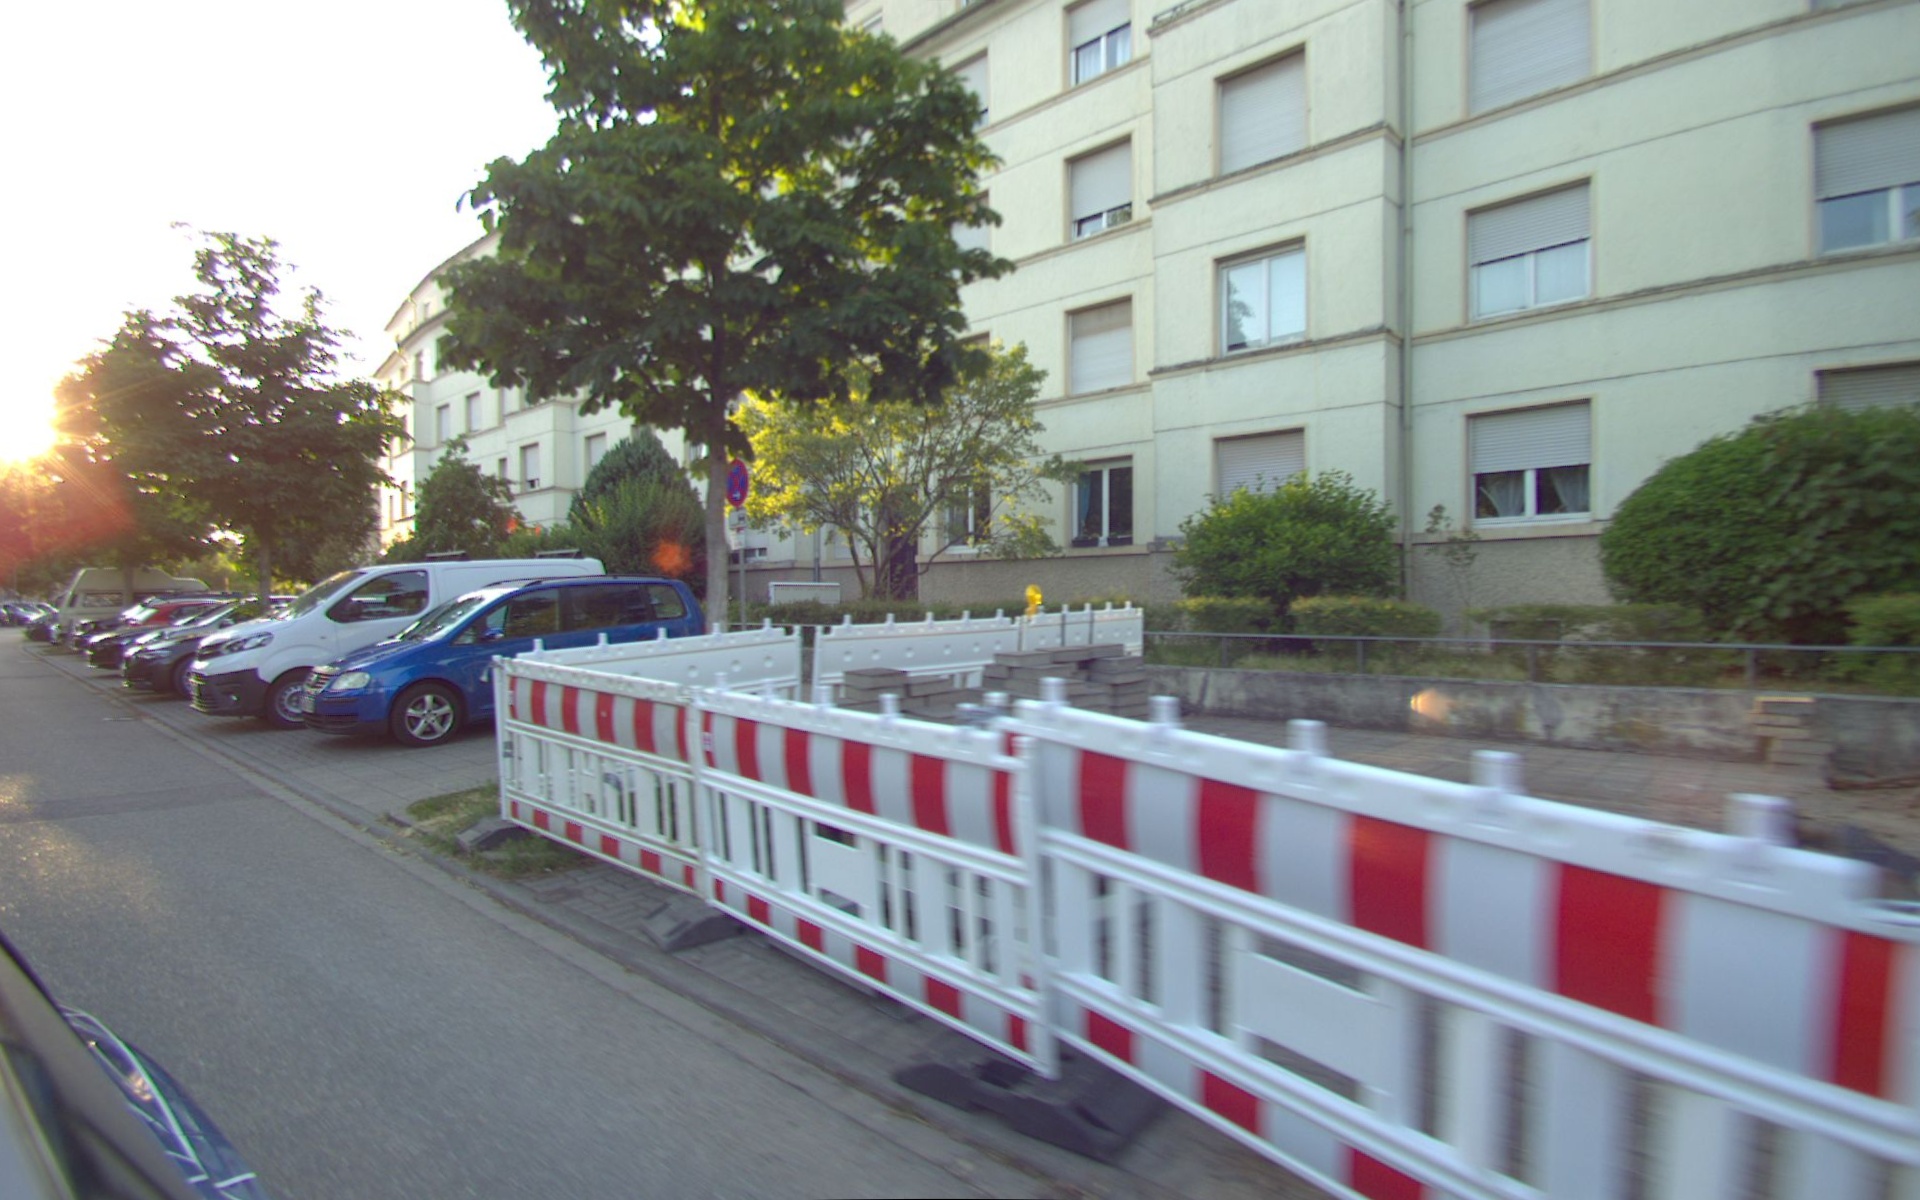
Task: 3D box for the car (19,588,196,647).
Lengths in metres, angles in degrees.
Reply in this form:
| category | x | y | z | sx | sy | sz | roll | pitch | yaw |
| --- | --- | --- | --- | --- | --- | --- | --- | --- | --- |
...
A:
| category | x | y | z | sx | sy | sz | roll | pitch | yaw |
| --- | --- | --- | --- | --- | --- | --- | --- | --- | --- |
| car | -29.877 | 0.570 | 35.574 | 4.619 | 1.888 | 2.001 | -1 | 0 | -45 |

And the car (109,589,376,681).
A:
| category | x | y | z | sx | sy | sz | roll | pitch | yaw |
| --- | --- | --- | --- | --- | --- | --- | --- | --- | --- |
| car | -14.010 | 0.615 | 19.934 | 1.799 | 1.590 | 3.947 | -1 | 0 | 39 |

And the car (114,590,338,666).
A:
| category | x | y | z | sx | sy | sz | roll | pitch | yaw |
| --- | --- | --- | --- | --- | --- | --- | --- | --- | --- |
| car | -17.132 | 0.593 | 23.765 | 1.730 | 1.595 | 3.947 | -1 | 0 | 40 |

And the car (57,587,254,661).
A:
| category | x | y | z | sx | sy | sz | roll | pitch | yaw |
| --- | --- | --- | --- | --- | --- | --- | --- | --- | --- |
| car | -21.355 | 0.581 | 26.967 | 1.842 | 1.790 | 3.821 | -1 | 0 | 40 |

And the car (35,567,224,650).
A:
| category | x | y | z | sx | sy | sz | roll | pitch | yaw |
| --- | --- | --- | --- | --- | --- | --- | --- | --- | --- |
| car | -26.437 | 0.235 | 32.321 | 2.001 | 2.449 | 4.452 | -1 | 0 | 44 |

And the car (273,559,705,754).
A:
| category | x | y | z | sx | sy | sz | roll | pitch | yaw |
| --- | --- | --- | --- | --- | --- | --- | --- | --- | --- |
| car | -5.029 | 0.490 | 11.217 | 1.799 | 1.765 | 3.945 | -1 | 0 | 41 |

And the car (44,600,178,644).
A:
| category | x | y | z | sx | sy | sz | roll | pitch | yaw |
| --- | --- | --- | --- | --- | --- | --- | --- | --- | --- |
| car | -31.703 | 0.792 | 37.832 | 3.724 | 1.449 | 1.657 | -2 | 1 | -43 |

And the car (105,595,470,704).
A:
| category | x | y | z | sx | sy | sz | roll | pitch | yaw |
| --- | --- | --- | --- | --- | --- | --- | --- | --- | --- |
| car | -10.895 | 0.691 | 16.692 | 1.881 | 1.481 | 4.720 | 0 | 1 | 43 |

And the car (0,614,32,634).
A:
| category | x | y | z | sx | sy | sz | roll | pitch | yaw |
| --- | --- | --- | --- | --- | --- | --- | --- | --- | --- |
| car | -81.630 | 1.971 | 85.366 | 4.631 | 1.644 | 2.005 | 3 | -3 | -34 |

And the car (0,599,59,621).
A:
| category | x | y | z | sx | sy | sz | roll | pitch | yaw |
| --- | --- | --- | --- | --- | --- | --- | --- | --- | --- |
| car | -93.989 | 0.970 | 101.605 | 4.892 | 2.117 | 2.157 | -1 | 1 | -31 |

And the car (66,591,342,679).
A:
| category | x | y | z | sx | sy | sz | roll | pitch | yaw |
| --- | --- | --- | --- | --- | --- | --- | --- | --- | --- |
| car | -15.900 | 0.660 | 21.480 | 1.898 | 1.627 | 4.362 | -1 | 0 | 39 |

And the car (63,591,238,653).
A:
| category | x | y | z | sx | sy | sz | roll | pitch | yaw |
| --- | --- | --- | --- | --- | --- | --- | --- | --- | --- |
| car | -23.272 | 0.589 | 29.162 | 3.815 | 1.607 | 1.787 | -1 | 0 | -43 |

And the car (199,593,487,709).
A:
| category | x | y | z | sx | sy | sz | roll | pitch | yaw |
| --- | --- | --- | --- | --- | --- | --- | --- | --- | --- |
| car | -9.194 | 0.676 | 15.220 | 3.375 | 1.495 | 1.759 | -1 | 0 | -45 |

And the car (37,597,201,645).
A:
| category | x | y | z | sx | sy | sz | roll | pitch | yaw |
| --- | --- | --- | --- | --- | --- | --- | --- | --- | --- |
| car | -28.329 | 0.668 | 34.163 | 4.126 | 1.436 | 2.001 | -1 | 0 | -44 |

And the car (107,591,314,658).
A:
| category | x | y | z | sx | sy | sz | roll | pitch | yaw |
| --- | --- | --- | --- | --- | --- | --- | --- | --- | --- |
| car | -19.059 | 0.581 | 25.850 | 1.789 | 1.536 | 3.946 | -1 | 0 | 41 |

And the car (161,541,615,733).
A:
| category | x | y | z | sx | sy | sz | roll | pitch | yaw |
| --- | --- | --- | --- | --- | --- | --- | --- | --- | --- |
| car | -7.163 | 0.367 | 13.088 | 2.000 | 2.029 | 4.720 | -1 | 0 | 43 |

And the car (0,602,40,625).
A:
| category | x | y | z | sx | sy | sz | roll | pitch | yaw |
| --- | --- | --- | --- | --- | --- | --- | --- | --- | --- |
| car | -84.596 | 1.114 | 89.379 | 4.525 | 1.876 | 2.017 | 5 | -3 | -34 |

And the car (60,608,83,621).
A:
| category | x | y | z | sx | sy | sz | roll | pitch | yaw |
| --- | --- | --- | --- | --- | --- | --- | --- | --- | --- |
| car | -110.329 | 1.800 | 125.709 | 1.772 | 1.535 | 4.009 | -1 | 0 | -37 |

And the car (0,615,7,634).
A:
| category | x | y | z | sx | sy | sz | roll | pitch | yaw |
| --- | --- | --- | --- | --- | --- | --- | --- | --- | --- |
| car | -79.167 | 1.876 | 80.989 | 3.934 | 1.557 | 1.849 | 4 | -3 | -36 |
